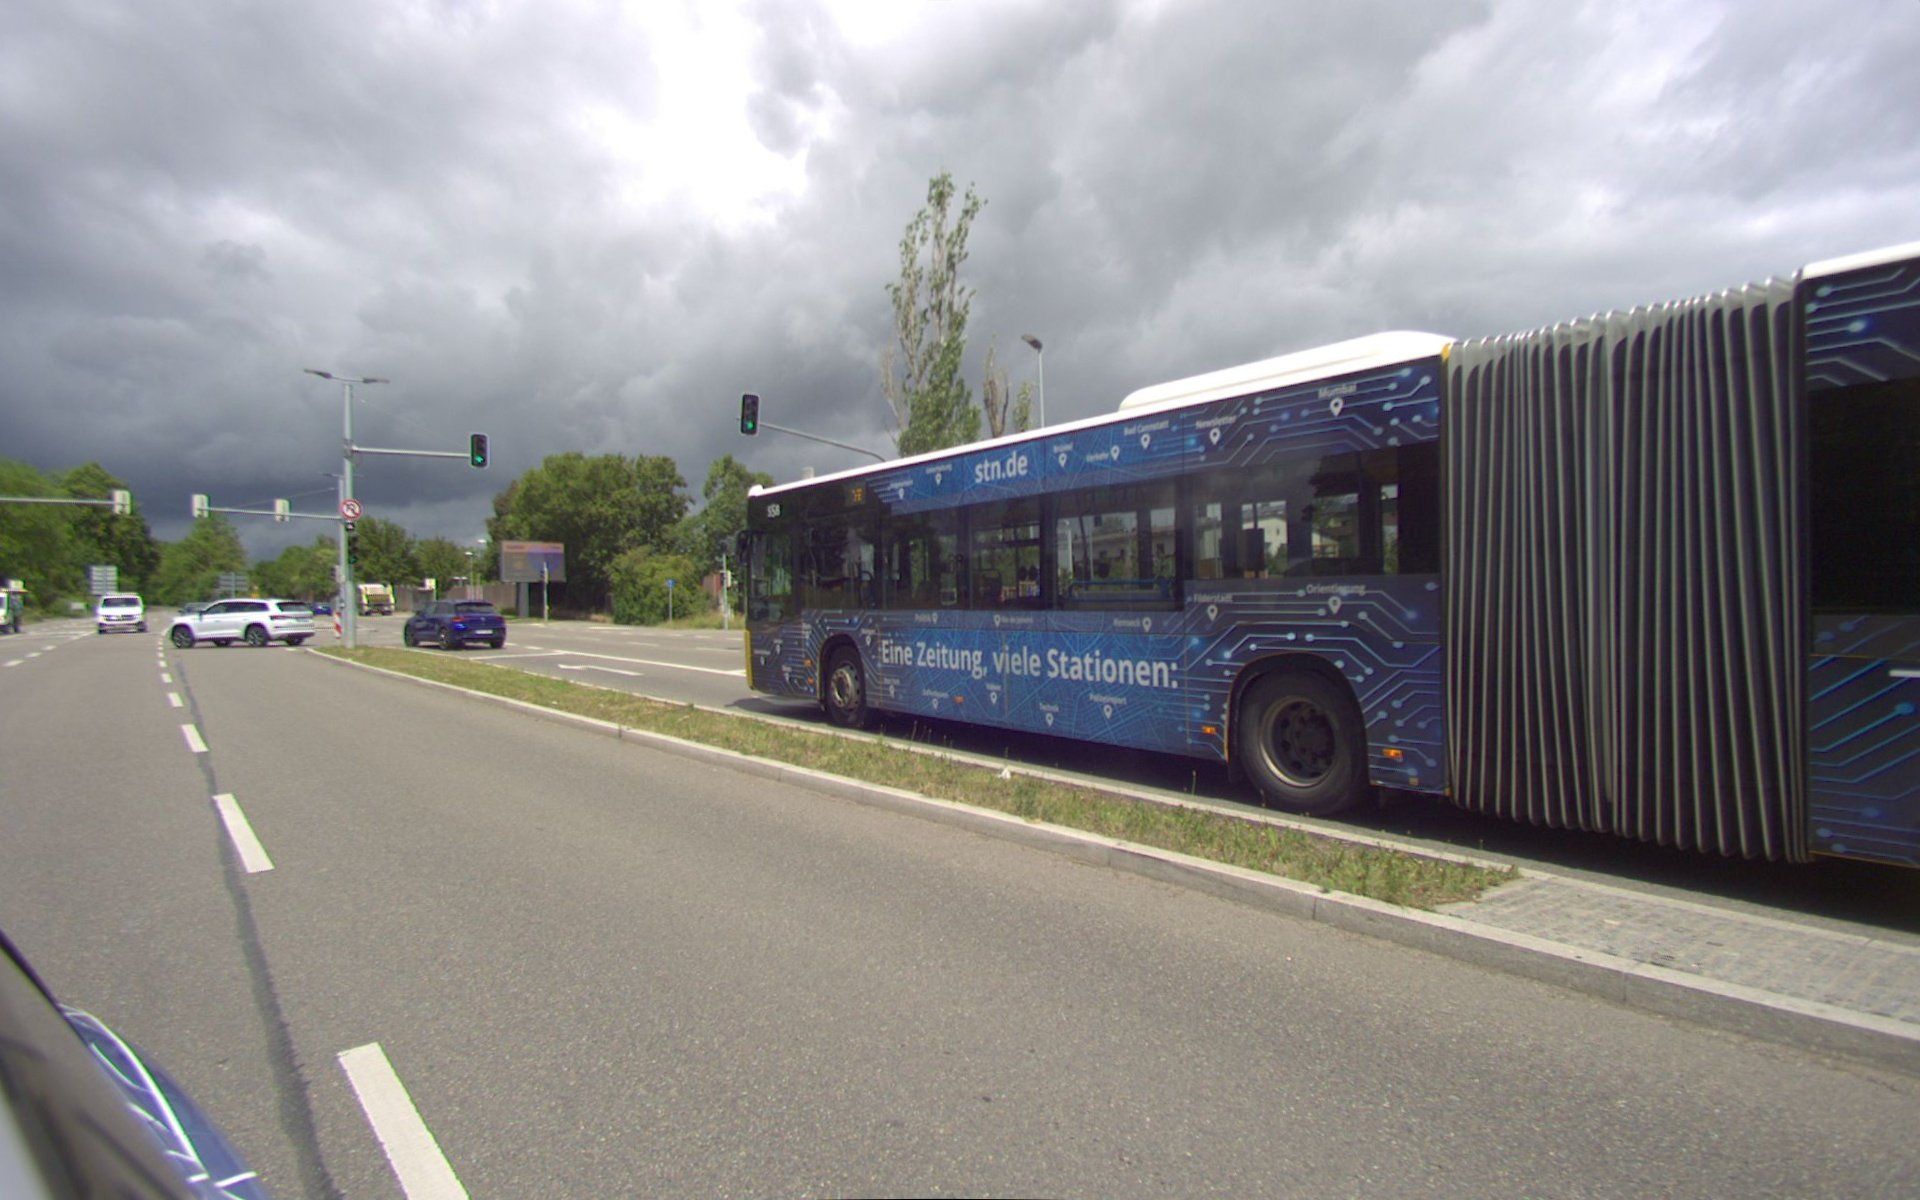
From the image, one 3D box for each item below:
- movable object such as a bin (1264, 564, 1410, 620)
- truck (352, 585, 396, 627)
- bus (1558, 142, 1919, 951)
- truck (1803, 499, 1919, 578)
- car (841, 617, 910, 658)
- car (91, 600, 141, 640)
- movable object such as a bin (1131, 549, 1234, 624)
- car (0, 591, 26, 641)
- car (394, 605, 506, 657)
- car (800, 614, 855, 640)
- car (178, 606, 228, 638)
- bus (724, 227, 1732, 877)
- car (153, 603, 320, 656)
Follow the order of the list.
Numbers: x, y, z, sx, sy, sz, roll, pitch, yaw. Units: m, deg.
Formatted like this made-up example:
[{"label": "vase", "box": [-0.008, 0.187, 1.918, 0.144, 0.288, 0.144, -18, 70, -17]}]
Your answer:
[{"label": "movable object such as a bin", "box": [18.039, -0.295, 48.961, 2.256, 2.029, 6.967, -2, -4, -24]}, {"label": "truck", "box": [-58.894, 0.623, 101.633, 2.801, 3.606, 6.980, 0, -5, -38]}, {"label": "bus", "box": [6.786, -0.315, 2.264, 2.779, 3.188, 8.927, -1, -1, -36]}, {"label": "truck", "box": [31.552, -2.164, 32.471, 1.965, 2.162, 6.601, -2, -4, -23]}, {"label": "car", "box": [-4.631, 2.086, 55.986, 1.990, 2.029, 3.964, -6, -4, 26]}, {"label": "car", "box": [-43.692, 1.010, 52.383, 1.881, 1.952, 4.979, -1, 0, -40]}, {"label": "movable object such as a bin", "box": [8.000, -0.451, 36.648, 2.115, 2.557, 3.425, -1, 0, -20]}, {"label": "car", "box": [-53.674, 0.927, 55.785, 2.128, 2.670, 5.842, -1, 0, -32]}, {"label": "car", "box": [-16.281, 0.985, 32.209, 4.398, 1.522, 1.785, -2, -1, 44]}, {"label": "car", "box": [-7.672, 1.553, 58.794, 1.682, 1.411, 3.978, -1, -1, 16]}, {"label": "car", "box": [-41.603, 1.187, 55.599, 1.881, 1.648, 4.979, -1, 0, -40]}, {"label": "bus", "box": [1.051, -0.229, 10.070, 2.779, 3.310, 10.143, -1, 0, -36]}, {"label": "car", "box": [-24.715, 0.997, 34.620, 4.845, 1.671, 1.729, -2, -1, 9]}]
